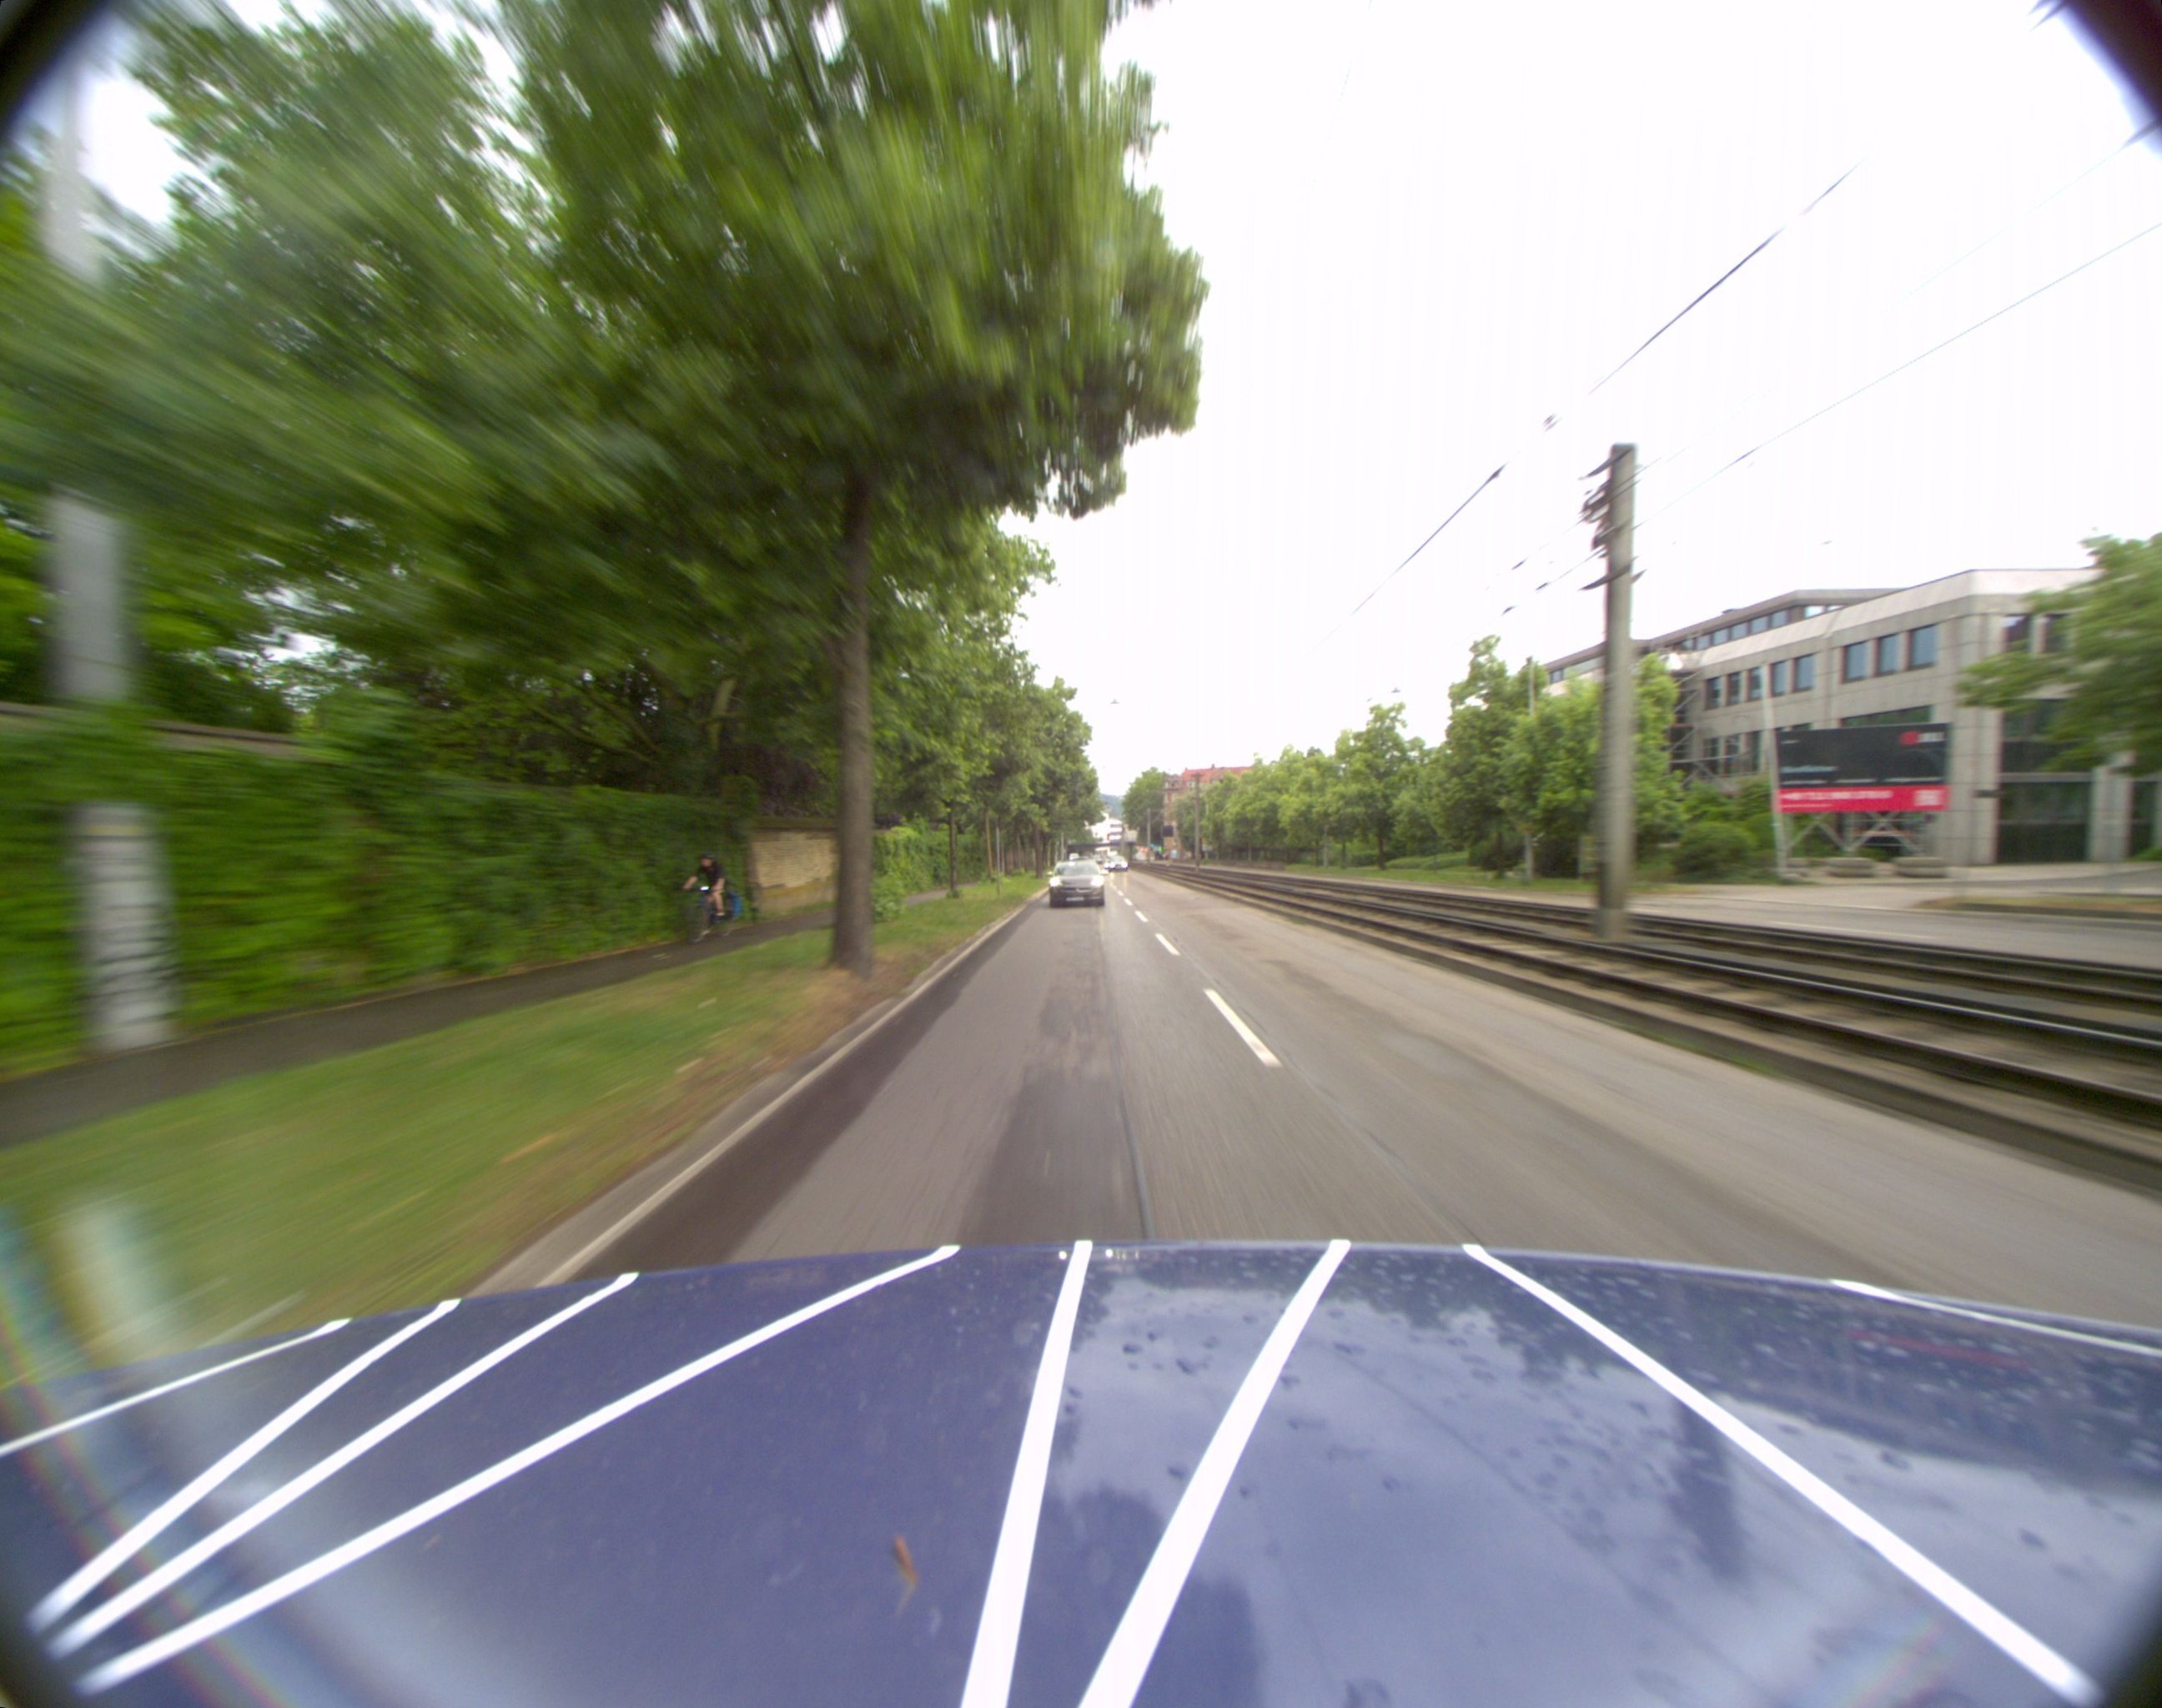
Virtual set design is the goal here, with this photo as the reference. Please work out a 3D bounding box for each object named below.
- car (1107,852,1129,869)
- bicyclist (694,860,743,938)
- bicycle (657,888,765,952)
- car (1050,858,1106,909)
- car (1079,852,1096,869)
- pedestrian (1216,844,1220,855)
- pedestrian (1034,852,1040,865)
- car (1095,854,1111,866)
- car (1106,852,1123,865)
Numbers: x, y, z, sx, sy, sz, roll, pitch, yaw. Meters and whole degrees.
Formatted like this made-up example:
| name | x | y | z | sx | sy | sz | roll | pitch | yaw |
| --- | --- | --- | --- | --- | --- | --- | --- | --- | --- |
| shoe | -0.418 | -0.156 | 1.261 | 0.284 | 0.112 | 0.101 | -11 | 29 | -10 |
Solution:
| name | x | y | z | sx | sy | sz | roll | pitch | yaw |
| --- | --- | --- | --- | --- | --- | --- | --- | --- | --- |
| car | 3.369 | 0.561 | 70.027 | 1.806 | 1.483 | 4.102 | -1 | 0 | 0 |
| bicyclist | -6.663 | 0.816 | 13.977 | 0.536 | 1.381 | 0.666 | 0 | 1 | 4 |
| bicycle | -6.669 | 1.153 | 13.875 | 0.544 | 0.942 | 2.550 | 0 | 0 | 4 |
| car | -0.099 | 0.885 | 24.376 | 1.658 | 1.483 | 3.829 | 0 | 0 | 0 |
| car | 0.861 | 0.734 | 94.570 | 1.998 | 2.002 | 4.000 | -2 | 0 | 1 |
| pedestrian | 24.941 | -0.820 | 138.434 | 0.597 | 1.892 | 0.654 | -2 | 1 | -3 |
| pedestrian | -5.789 | 0.603 | 100.693 | 0.710 | 1.769 | 0.900 | -1 | 1 | -2 |
| car | 3.647 | 0.958 | 126.321 | 2.000 | 1.801 | 3.997 | -2 | 0 | -6 |
| car | 3.747 | 0.499 | 85.896 | 1.806 | 1.483 | 4.103 | 0 | 0 | 1 |
